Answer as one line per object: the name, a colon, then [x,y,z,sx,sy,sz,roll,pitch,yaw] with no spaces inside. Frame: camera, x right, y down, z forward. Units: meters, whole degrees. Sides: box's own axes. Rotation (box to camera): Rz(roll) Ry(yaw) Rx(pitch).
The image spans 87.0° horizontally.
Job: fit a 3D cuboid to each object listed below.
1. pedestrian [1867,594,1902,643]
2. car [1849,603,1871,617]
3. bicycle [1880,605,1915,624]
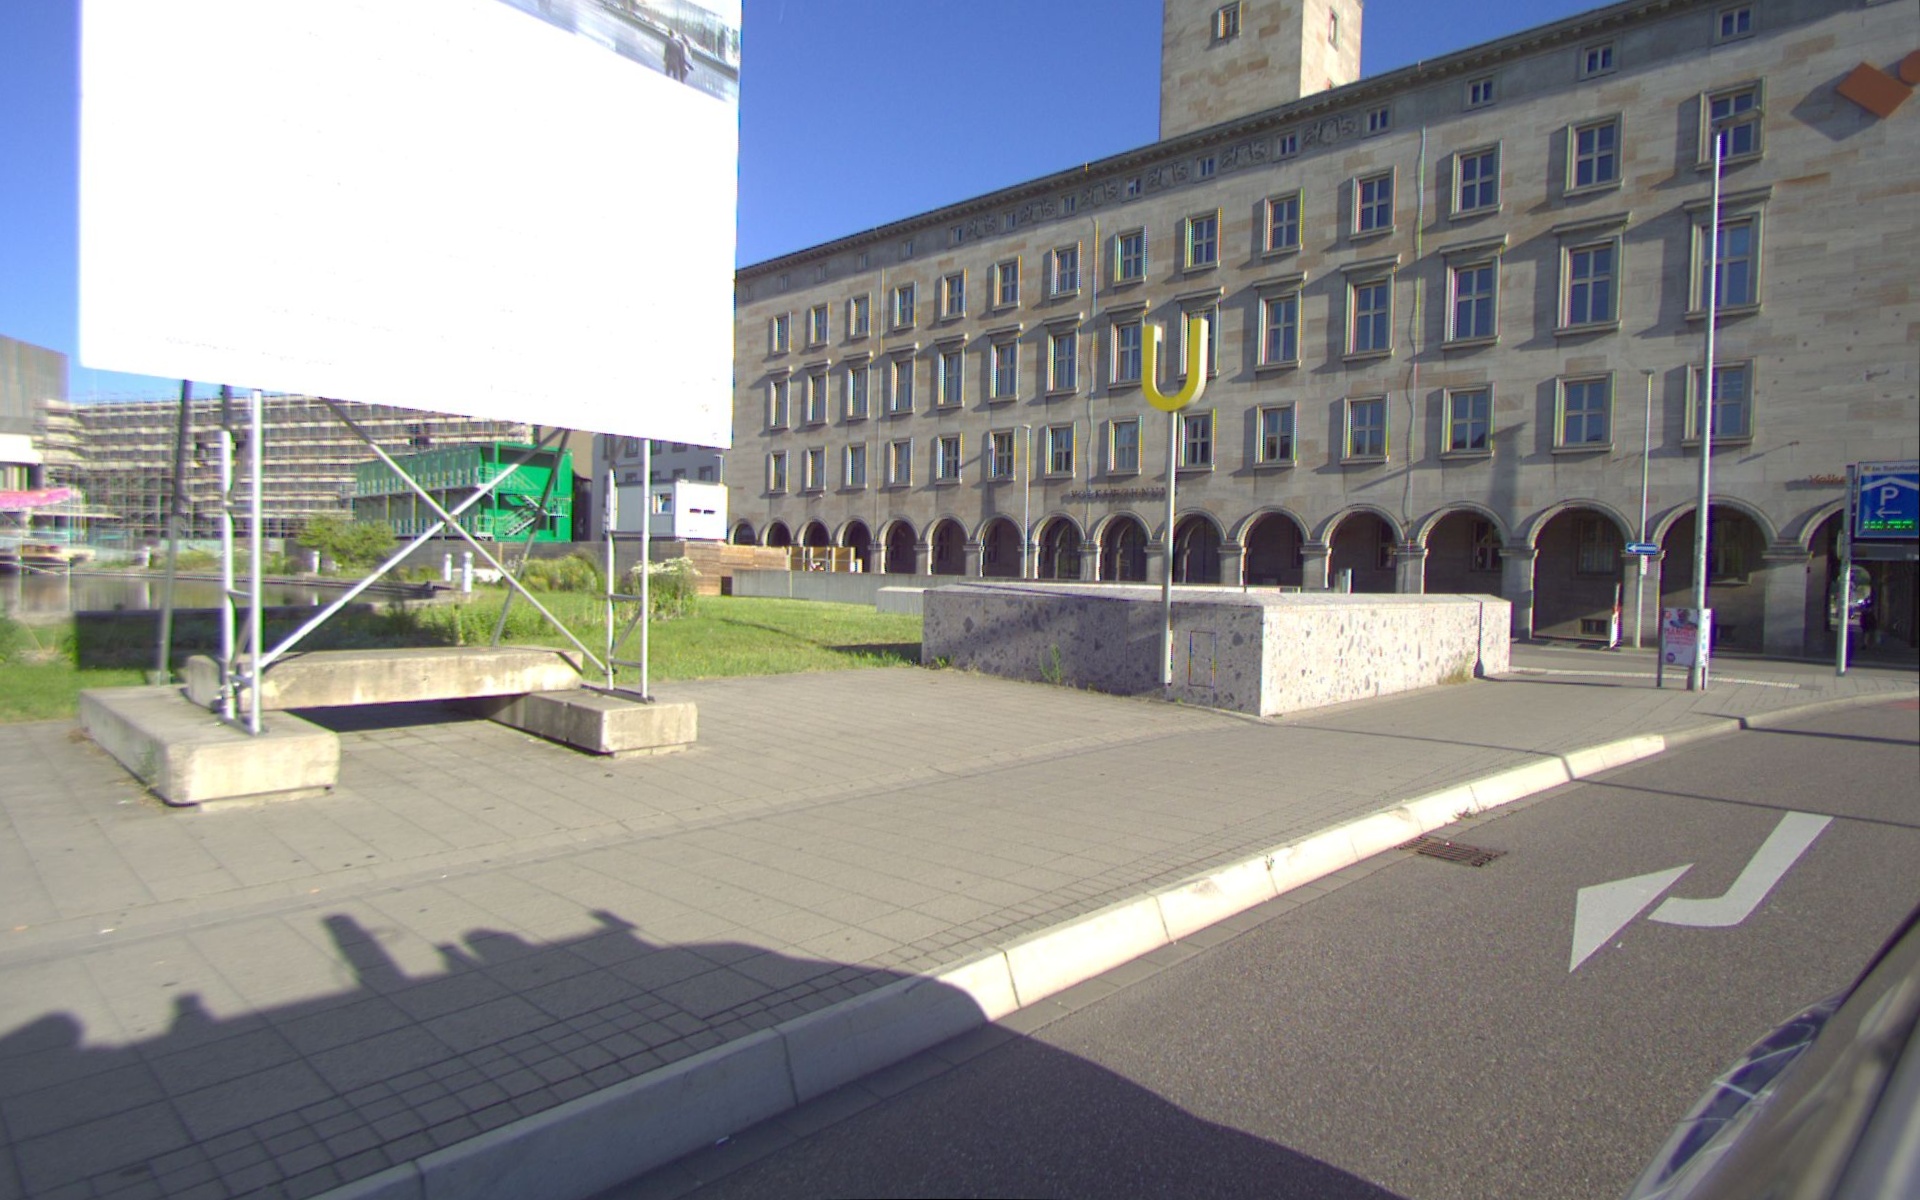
pedestrian: [31.026,0.609,33.989,0.775,1.589,0.939,2,1,40]
car: [112.611,1.256,126.649,1.993,1.593,4.480,3,2,42]
bicycle: [64.581,1.001,69.724,0.650,1.147,1.717,3,2,-8]
